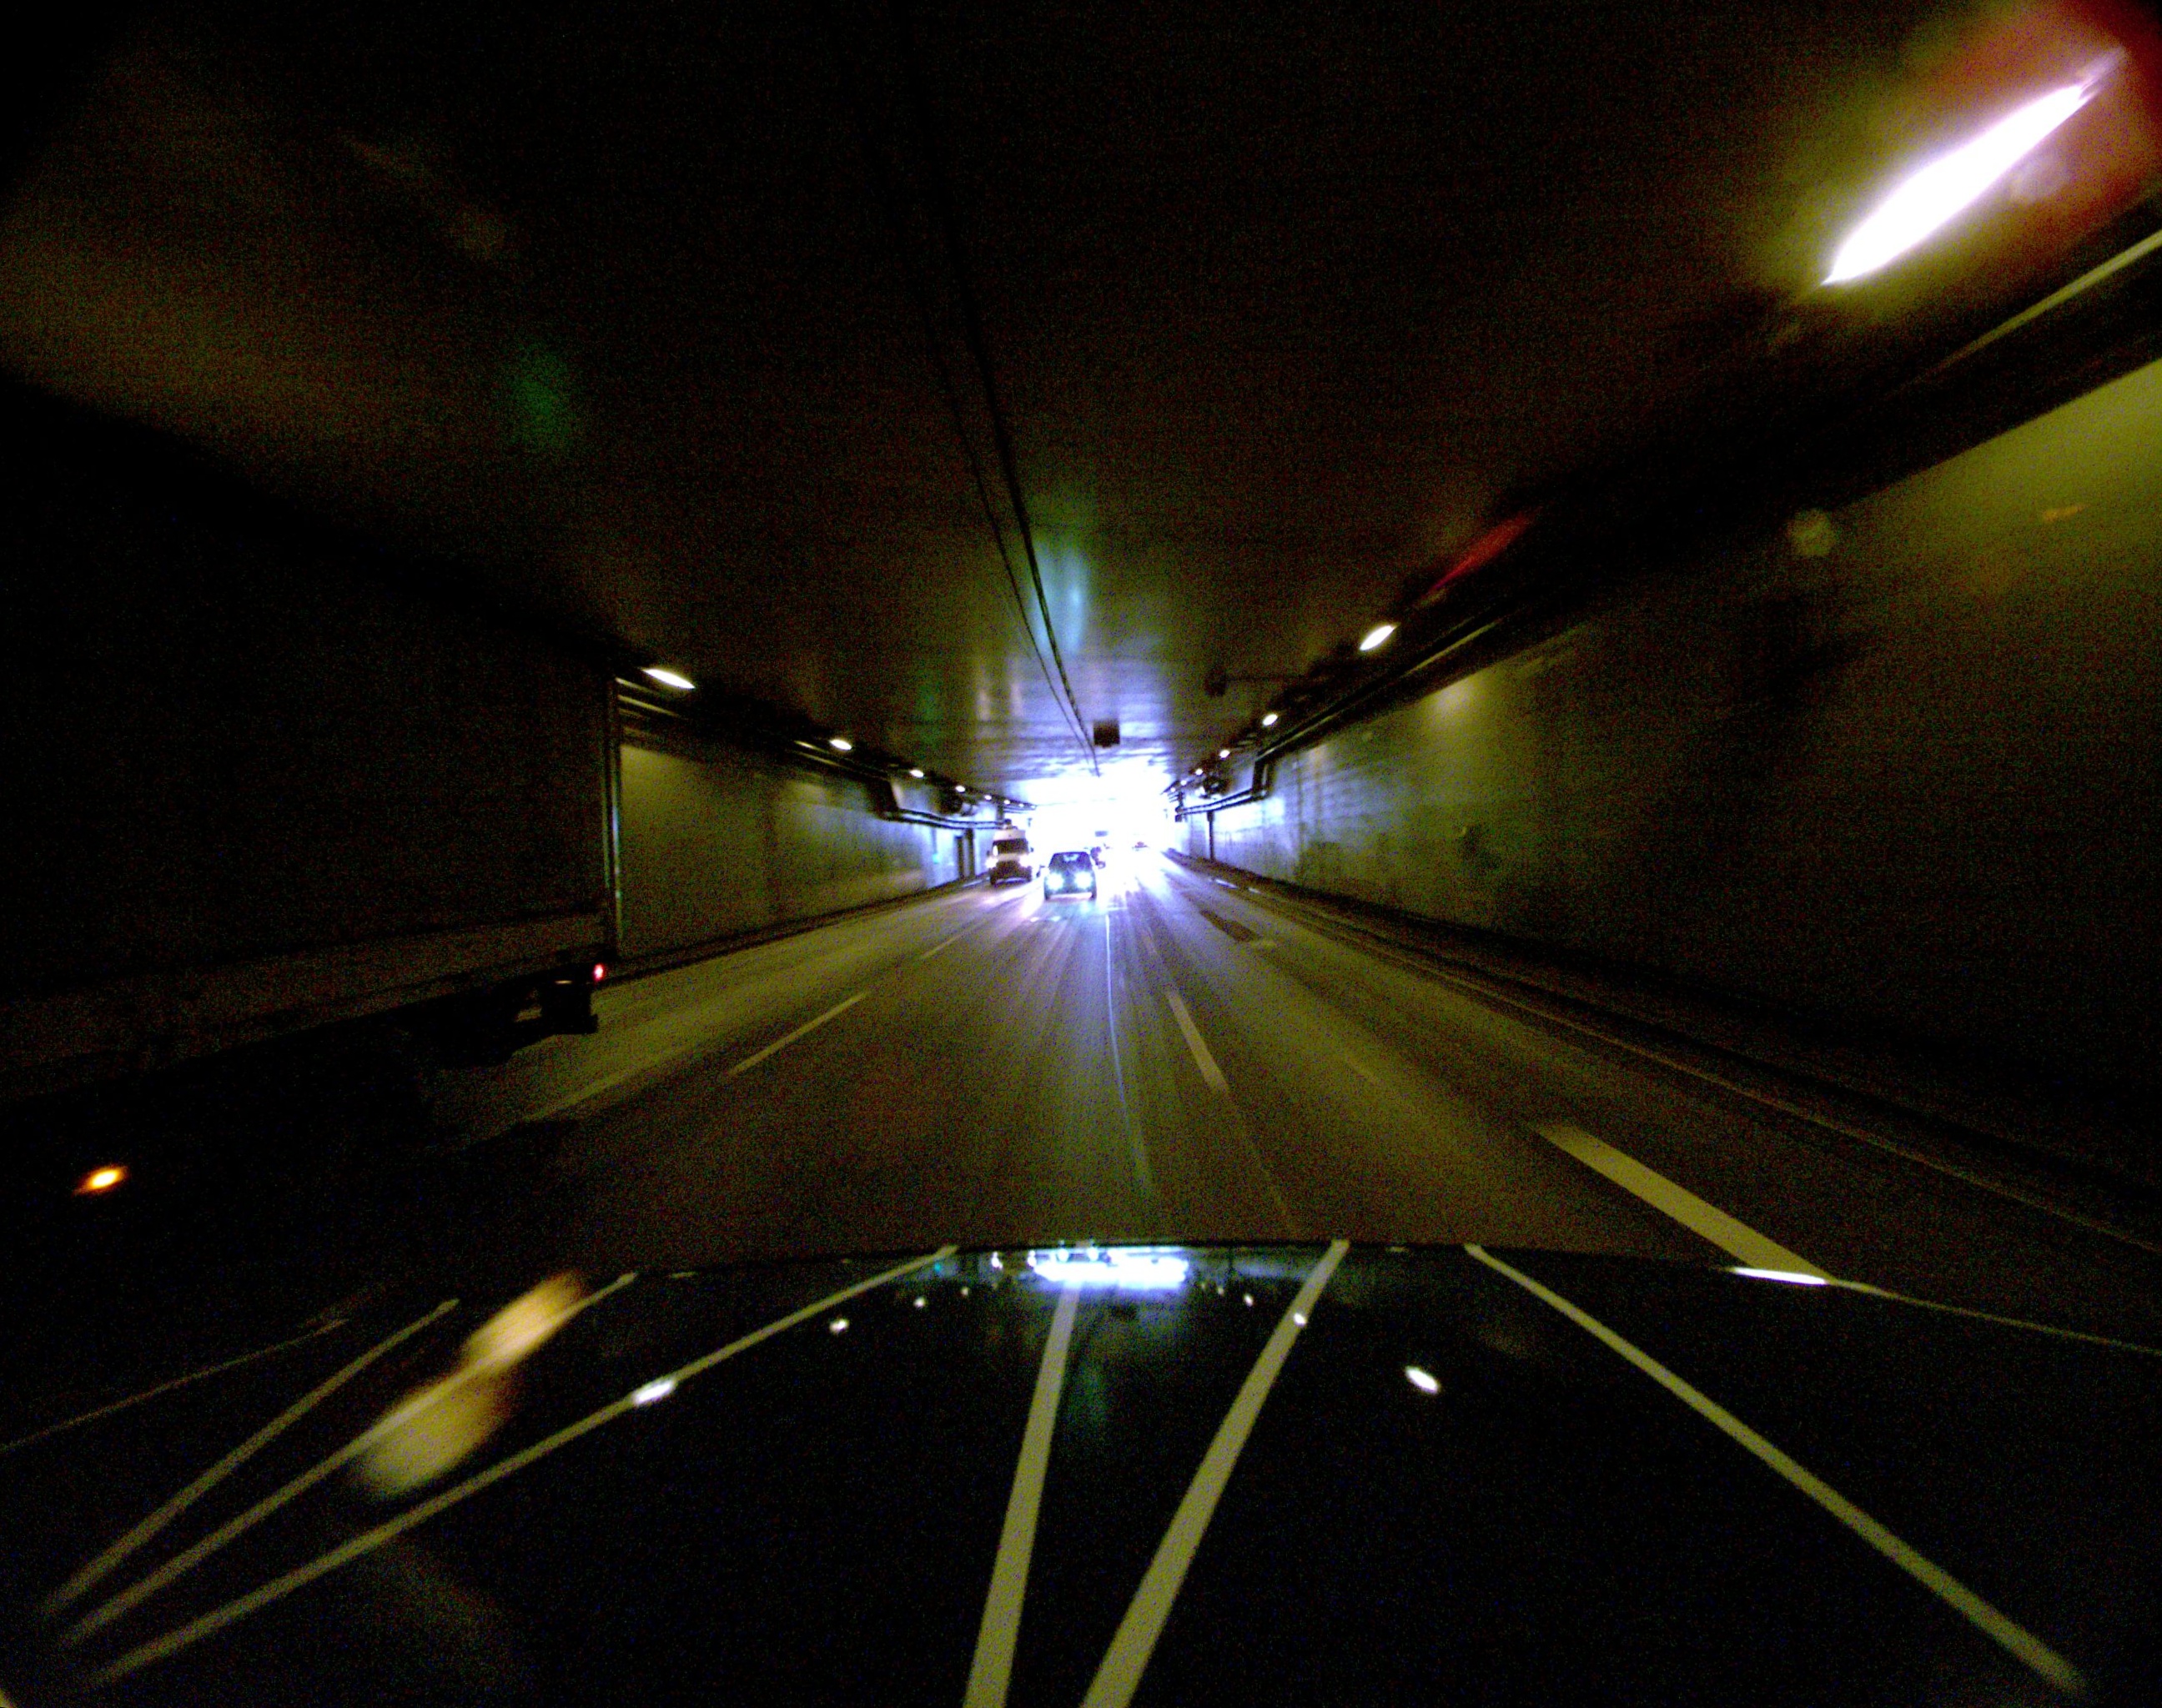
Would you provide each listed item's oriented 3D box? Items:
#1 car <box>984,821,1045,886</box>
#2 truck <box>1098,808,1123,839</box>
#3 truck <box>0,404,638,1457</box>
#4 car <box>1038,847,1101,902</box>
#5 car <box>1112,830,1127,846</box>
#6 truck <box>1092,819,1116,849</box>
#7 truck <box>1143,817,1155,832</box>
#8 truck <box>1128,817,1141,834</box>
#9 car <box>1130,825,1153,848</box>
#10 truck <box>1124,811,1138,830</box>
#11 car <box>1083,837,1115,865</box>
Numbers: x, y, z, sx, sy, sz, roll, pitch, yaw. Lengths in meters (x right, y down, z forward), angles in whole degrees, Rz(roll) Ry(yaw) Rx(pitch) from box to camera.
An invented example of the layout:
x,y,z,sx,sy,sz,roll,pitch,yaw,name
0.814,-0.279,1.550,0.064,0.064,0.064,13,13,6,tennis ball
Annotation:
x,y,z,sx,sy,sz,roll,pitch,yaw,name
-3.236,-0.133,38.586,2.106,2.831,6.859,-4,2,2,car
4.687,-4.917,119.432,2.886,4.448,10.452,-4,3,6,truck
-4.527,0.248,1.865,2.560,3.162,7.244,-2,0,0,truck
-0.301,0.605,24.672,1.638,1.552,3.716,-3,1,5,car
4.710,-1.946,91.886,1.639,1.662,3.715,-4,3,5,car
2.315,-2.036,74.859,2.073,2.526,6.021,-4,3,4,truck
13.115,-5.758,147.051,2.138,2.714,5.669,-4,3,5,truck
11.069,-5.980,157.165,2.493,3.122,6.374,-4,3,5,truck
5.647,-1.679,70.857,1.935,1.919,4.196,-4,2,5,car
9.681,-6.437,146.174,2.493,3.370,6.374,-4,3,5,truck
1.064,-0.160,47.044,1.764,1.552,3.818,-4,0,-1,car
